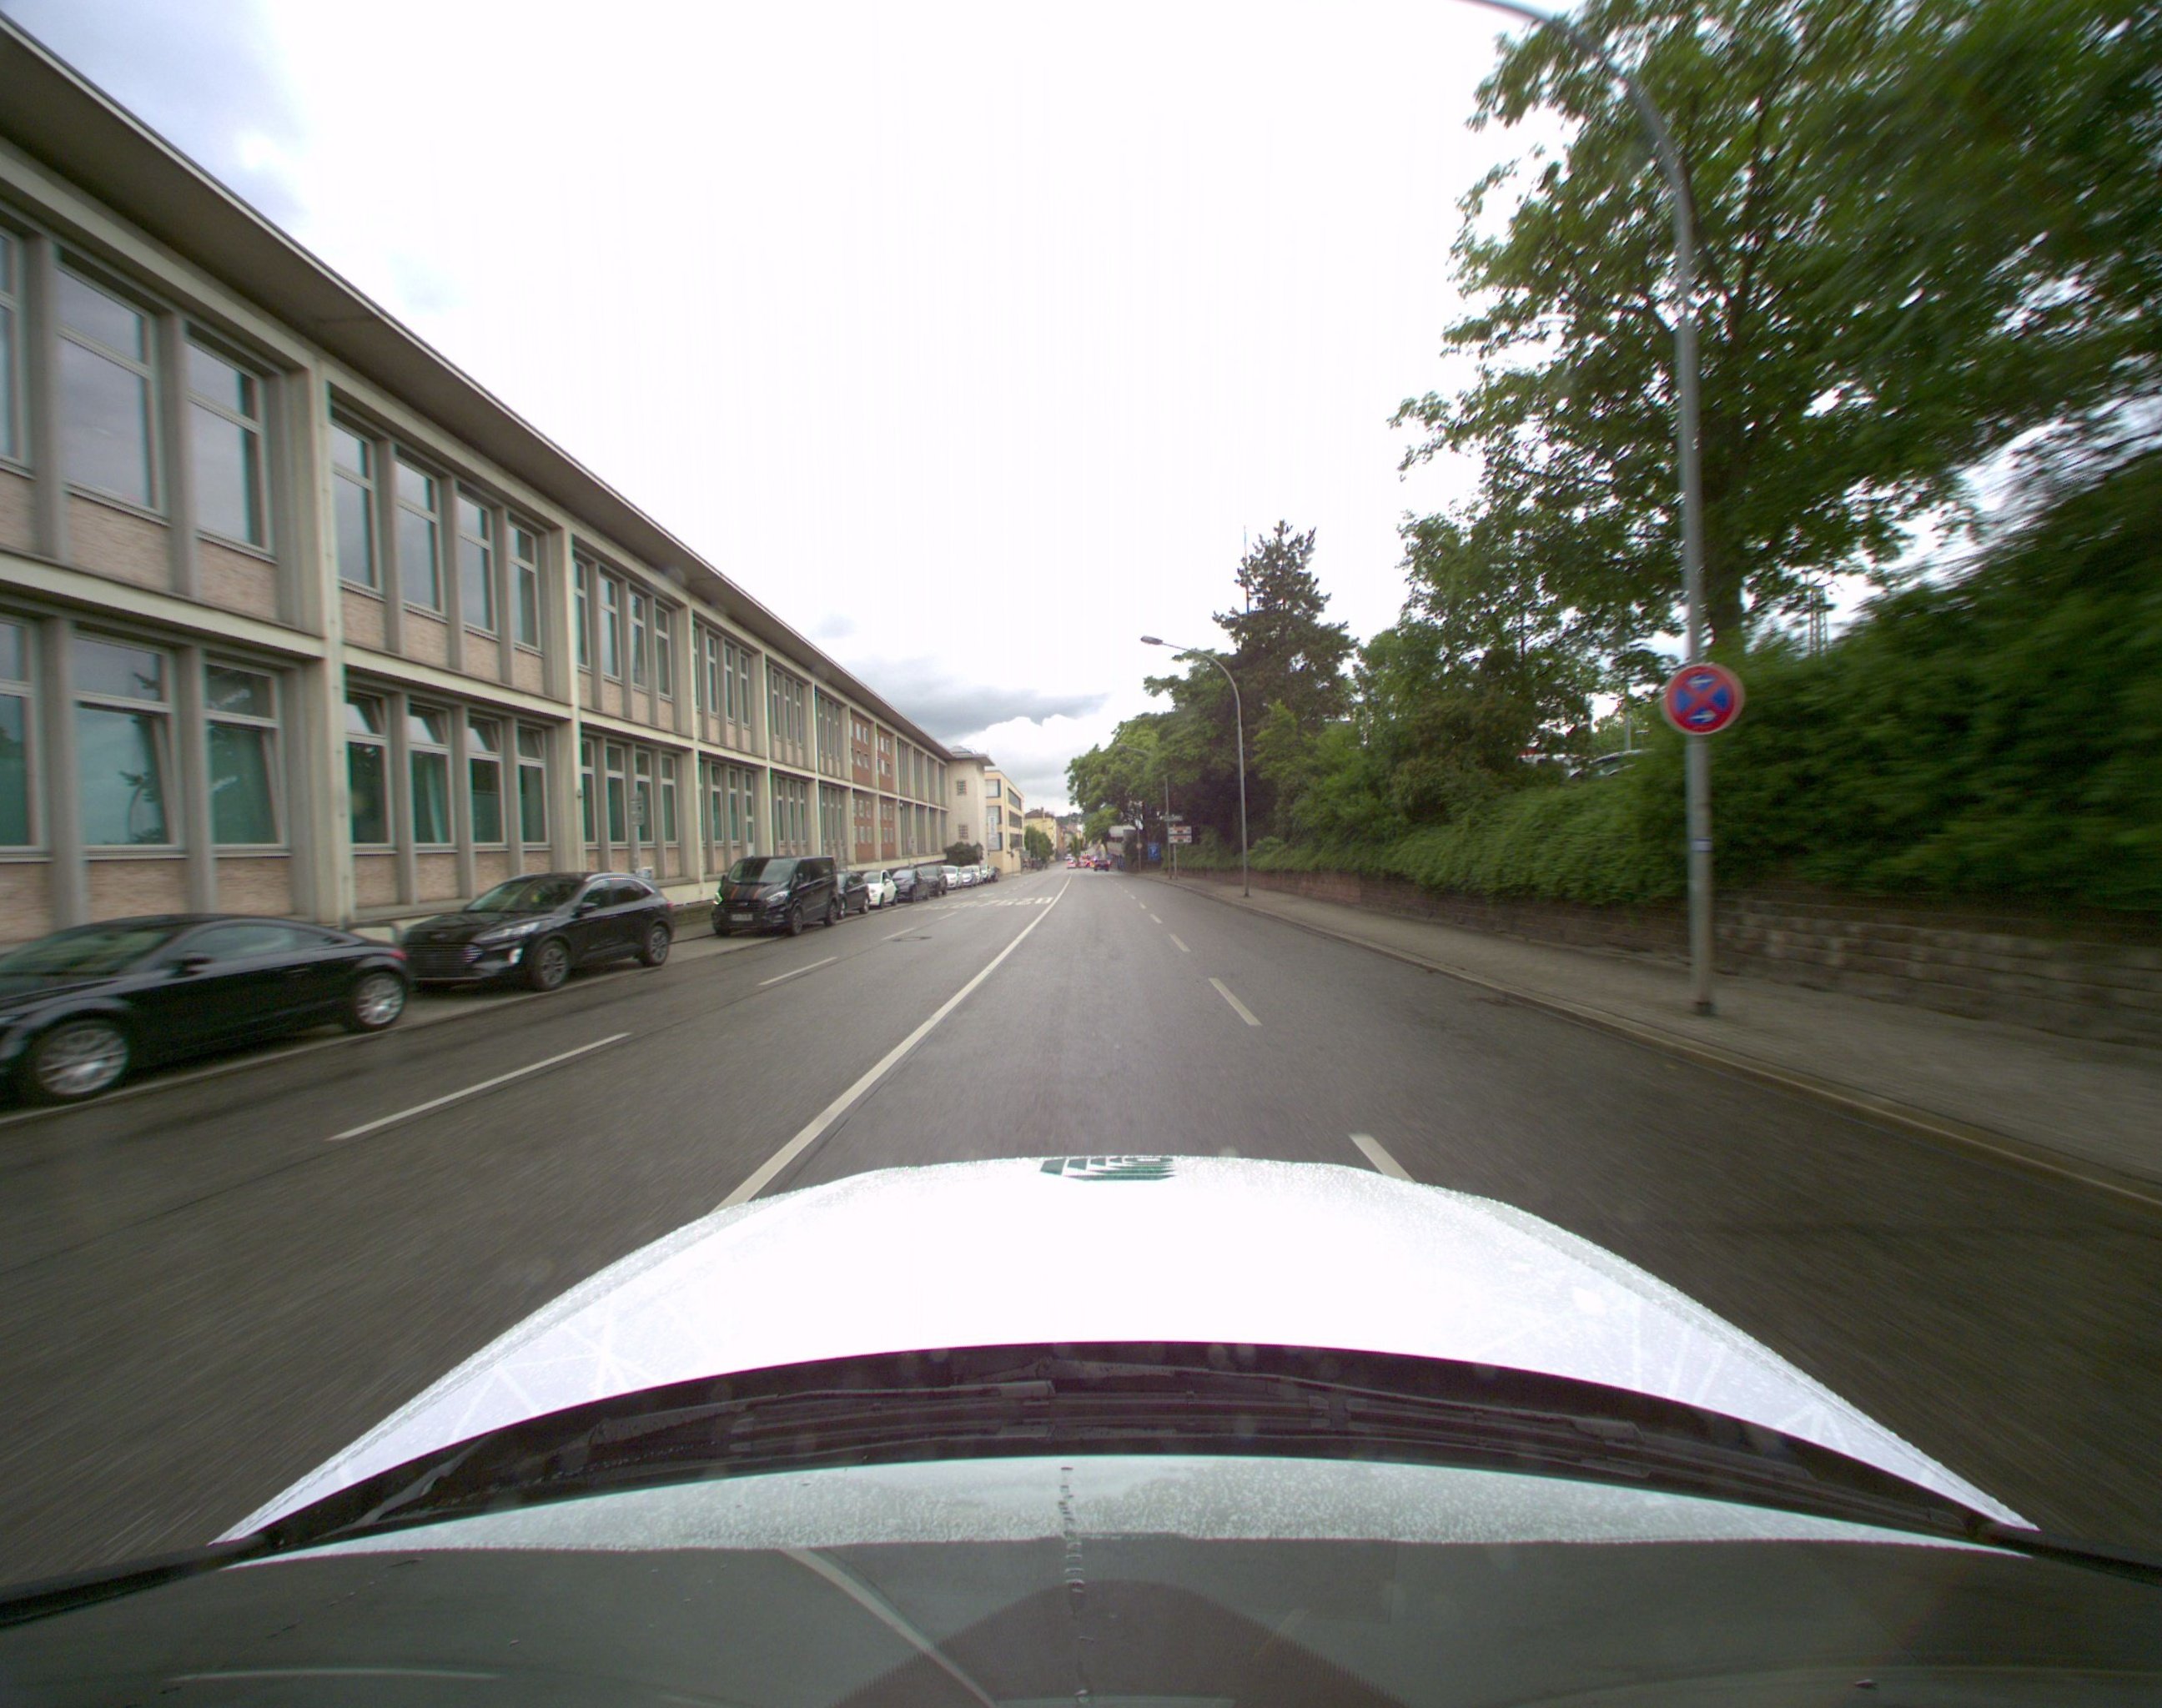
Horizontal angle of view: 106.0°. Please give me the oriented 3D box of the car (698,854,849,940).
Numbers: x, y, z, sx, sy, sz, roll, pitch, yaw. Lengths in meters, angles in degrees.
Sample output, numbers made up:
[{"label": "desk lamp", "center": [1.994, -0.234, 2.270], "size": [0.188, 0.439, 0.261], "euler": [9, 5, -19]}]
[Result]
[{"label": "car", "center": [-7.910, 1.009, 21.553], "size": [1.942, 1.944, 4.997], "euler": [-2, 0, 1]}]

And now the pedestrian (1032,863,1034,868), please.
[{"label": "pedestrian", "center": [-11.154, 2.698, 189.989], "size": [0.451, 1.278, 0.455], "euler": [-2, 0, 10]}]

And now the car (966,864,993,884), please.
[{"label": "car", "center": [-8.478, 1.680, 68.342], "size": [1.743, 1.598, 4.180], "euler": [-1, 0, -1]}]

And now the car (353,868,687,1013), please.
[{"label": "car", "center": [-8.255, 1.138, 12.658], "size": [1.790, 1.675, 4.606], "euler": [-2, 0, 2]}]

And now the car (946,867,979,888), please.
[{"label": "car", "center": [-8.347, 1.648, 57.566], "size": [1.743, 1.435, 4.483], "euler": [-1, -1, -2]}]

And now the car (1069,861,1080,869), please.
[{"label": "car", "center": [-1.457, 2.435, 178.027], "size": [1.990, 1.680, 3.992], "euler": [-2, 0, -5]}]

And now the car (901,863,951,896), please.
[{"label": "car", "center": [-8.143, 1.324, 43.065], "size": [1.836, 1.653, 4.513], "euler": [-1, -1, -1]}]

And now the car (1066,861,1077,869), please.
[{"label": "car", "center": [-2.009, 2.267, 169.673], "size": [1.990, 1.680, 3.993], "euler": [-2, 0, -5]}]

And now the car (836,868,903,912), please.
[{"label": "car", "center": [-8.194, 1.339, 31.808], "size": [1.560, 1.484, 3.554], "euler": [-3, 0, 1]}]

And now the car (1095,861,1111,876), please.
[{"label": "car", "center": [3.194, 2.087, 119.756], "size": [2.084, 1.910, 4.100], "euler": [-4, 1, 0]}]

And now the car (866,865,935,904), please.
[{"label": "car", "center": [-8.022, 1.322, 36.628], "size": [1.809, 1.484, 4.911], "euler": [-2, 0, 1]}]

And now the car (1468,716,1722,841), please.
[{"label": "car", "center": [10.470, -1.457, 16.934], "size": [3.959, 2.219, 2.007], "euler": [-2, 0, 12]}]

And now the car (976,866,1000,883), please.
[{"label": "car", "center": [-8.390, 1.824, 73.525], "size": [1.743, 1.480, 4.178], "euler": [-1, 0, -2]}]

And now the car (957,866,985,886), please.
[{"label": "car", "center": [-8.470, 1.687, 63.027], "size": [1.743, 1.454, 4.178], "euler": [-1, 0, -2]}]

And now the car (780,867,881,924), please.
[{"label": "car", "center": [-8.177, 1.305, 27.053], "size": [1.854, 1.552, 4.314], "euler": [-3, 0, 1]}]

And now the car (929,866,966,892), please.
[{"label": "car", "center": [-8.525, 1.606, 52.340], "size": [1.674, 1.522, 3.920], "euler": [-2, -1, 0]}]

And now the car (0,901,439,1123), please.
[{"label": "car", "center": [-8.351, 1.257, 7.413], "size": [1.536, 1.353, 4.114], "euler": [-2, 0, 3]}]

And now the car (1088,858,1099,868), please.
[{"label": "car", "center": [2.588, 1.747, 165.591], "size": [1.987, 1.837, 4.001], "euler": [-4, 0, 1]}]
